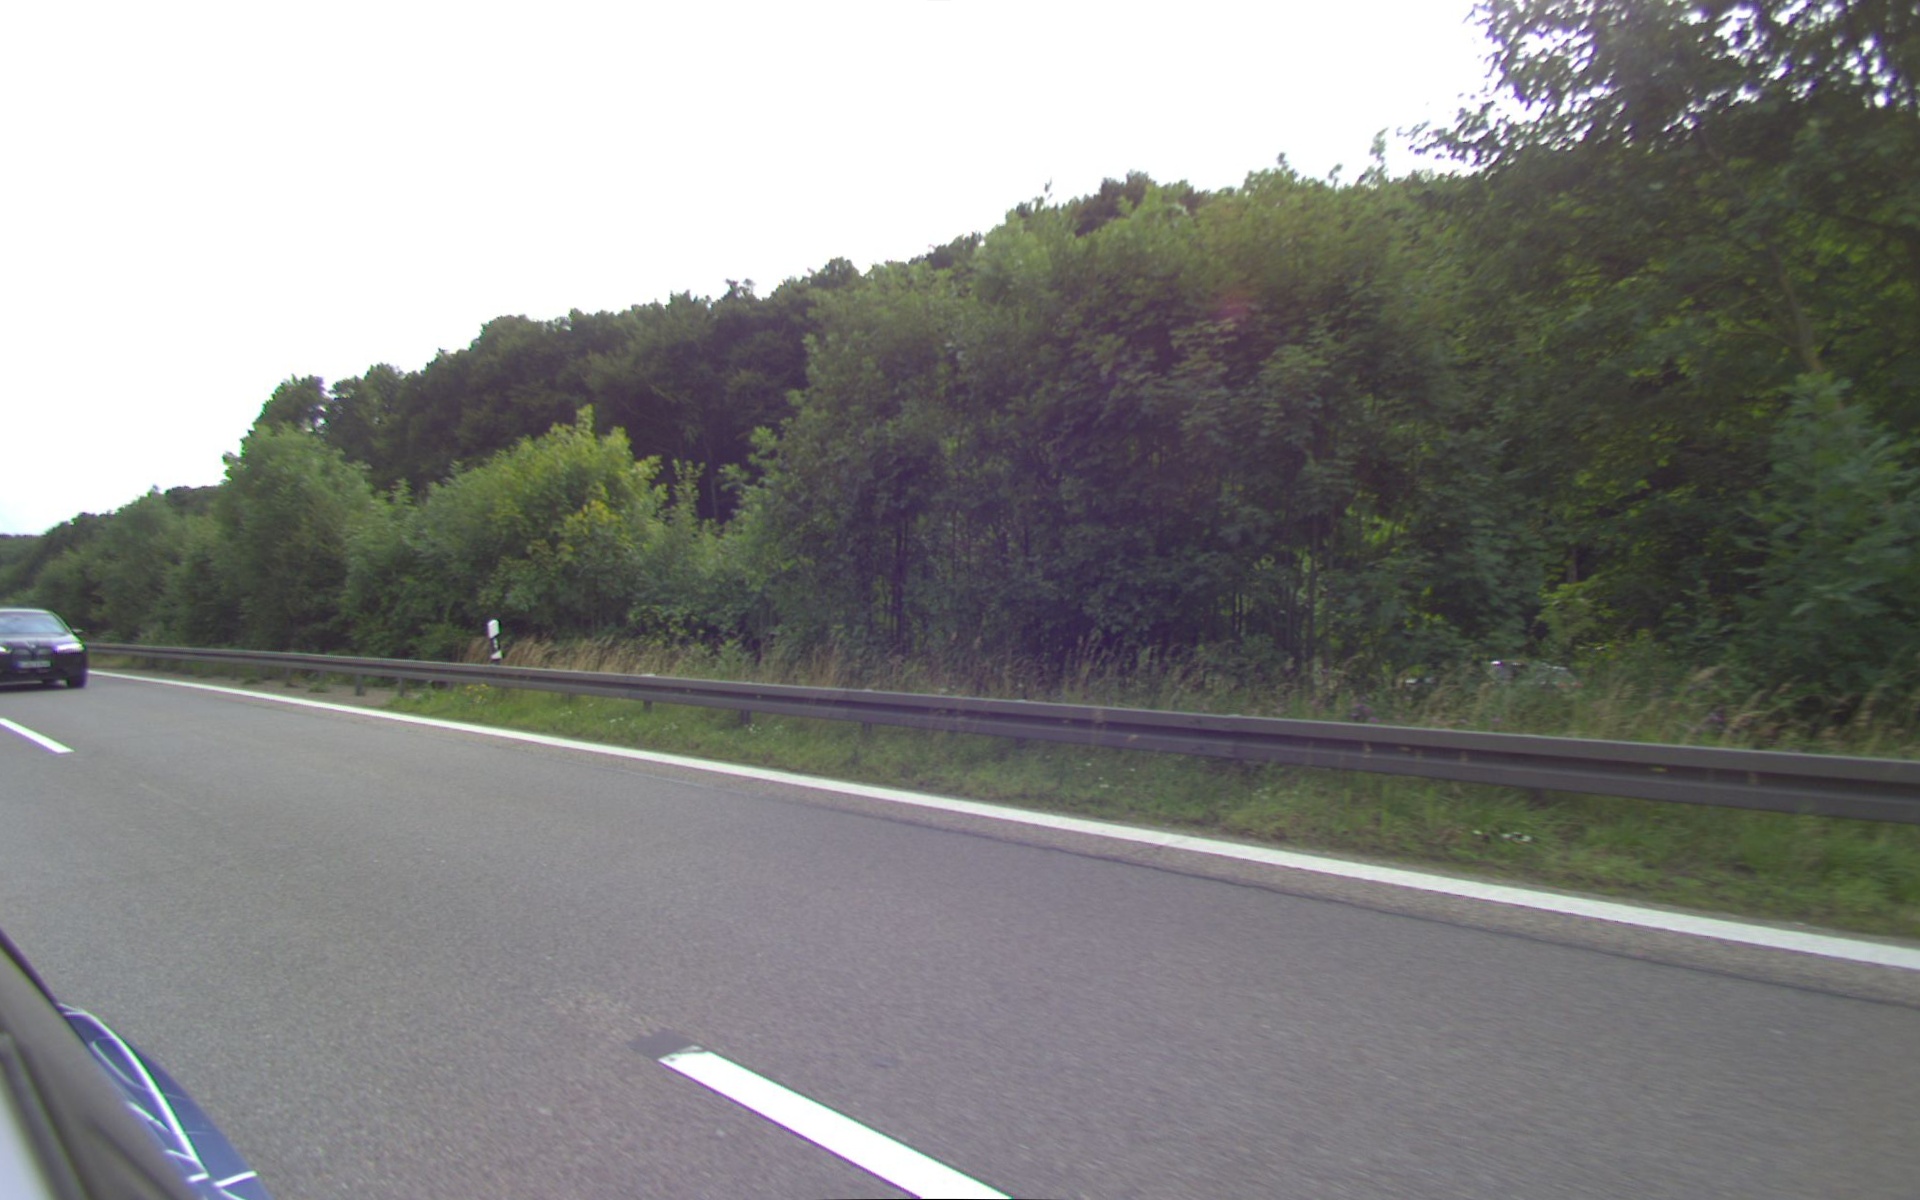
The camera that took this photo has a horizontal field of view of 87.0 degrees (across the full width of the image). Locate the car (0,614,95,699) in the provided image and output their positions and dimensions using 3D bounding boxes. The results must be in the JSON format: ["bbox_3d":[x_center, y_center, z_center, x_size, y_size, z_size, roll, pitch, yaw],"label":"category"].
[{"bbox_3d":[-20.403,1.153,21.767,4.410,1.678,1.974,-1,-1,39],"label":"car"}]
